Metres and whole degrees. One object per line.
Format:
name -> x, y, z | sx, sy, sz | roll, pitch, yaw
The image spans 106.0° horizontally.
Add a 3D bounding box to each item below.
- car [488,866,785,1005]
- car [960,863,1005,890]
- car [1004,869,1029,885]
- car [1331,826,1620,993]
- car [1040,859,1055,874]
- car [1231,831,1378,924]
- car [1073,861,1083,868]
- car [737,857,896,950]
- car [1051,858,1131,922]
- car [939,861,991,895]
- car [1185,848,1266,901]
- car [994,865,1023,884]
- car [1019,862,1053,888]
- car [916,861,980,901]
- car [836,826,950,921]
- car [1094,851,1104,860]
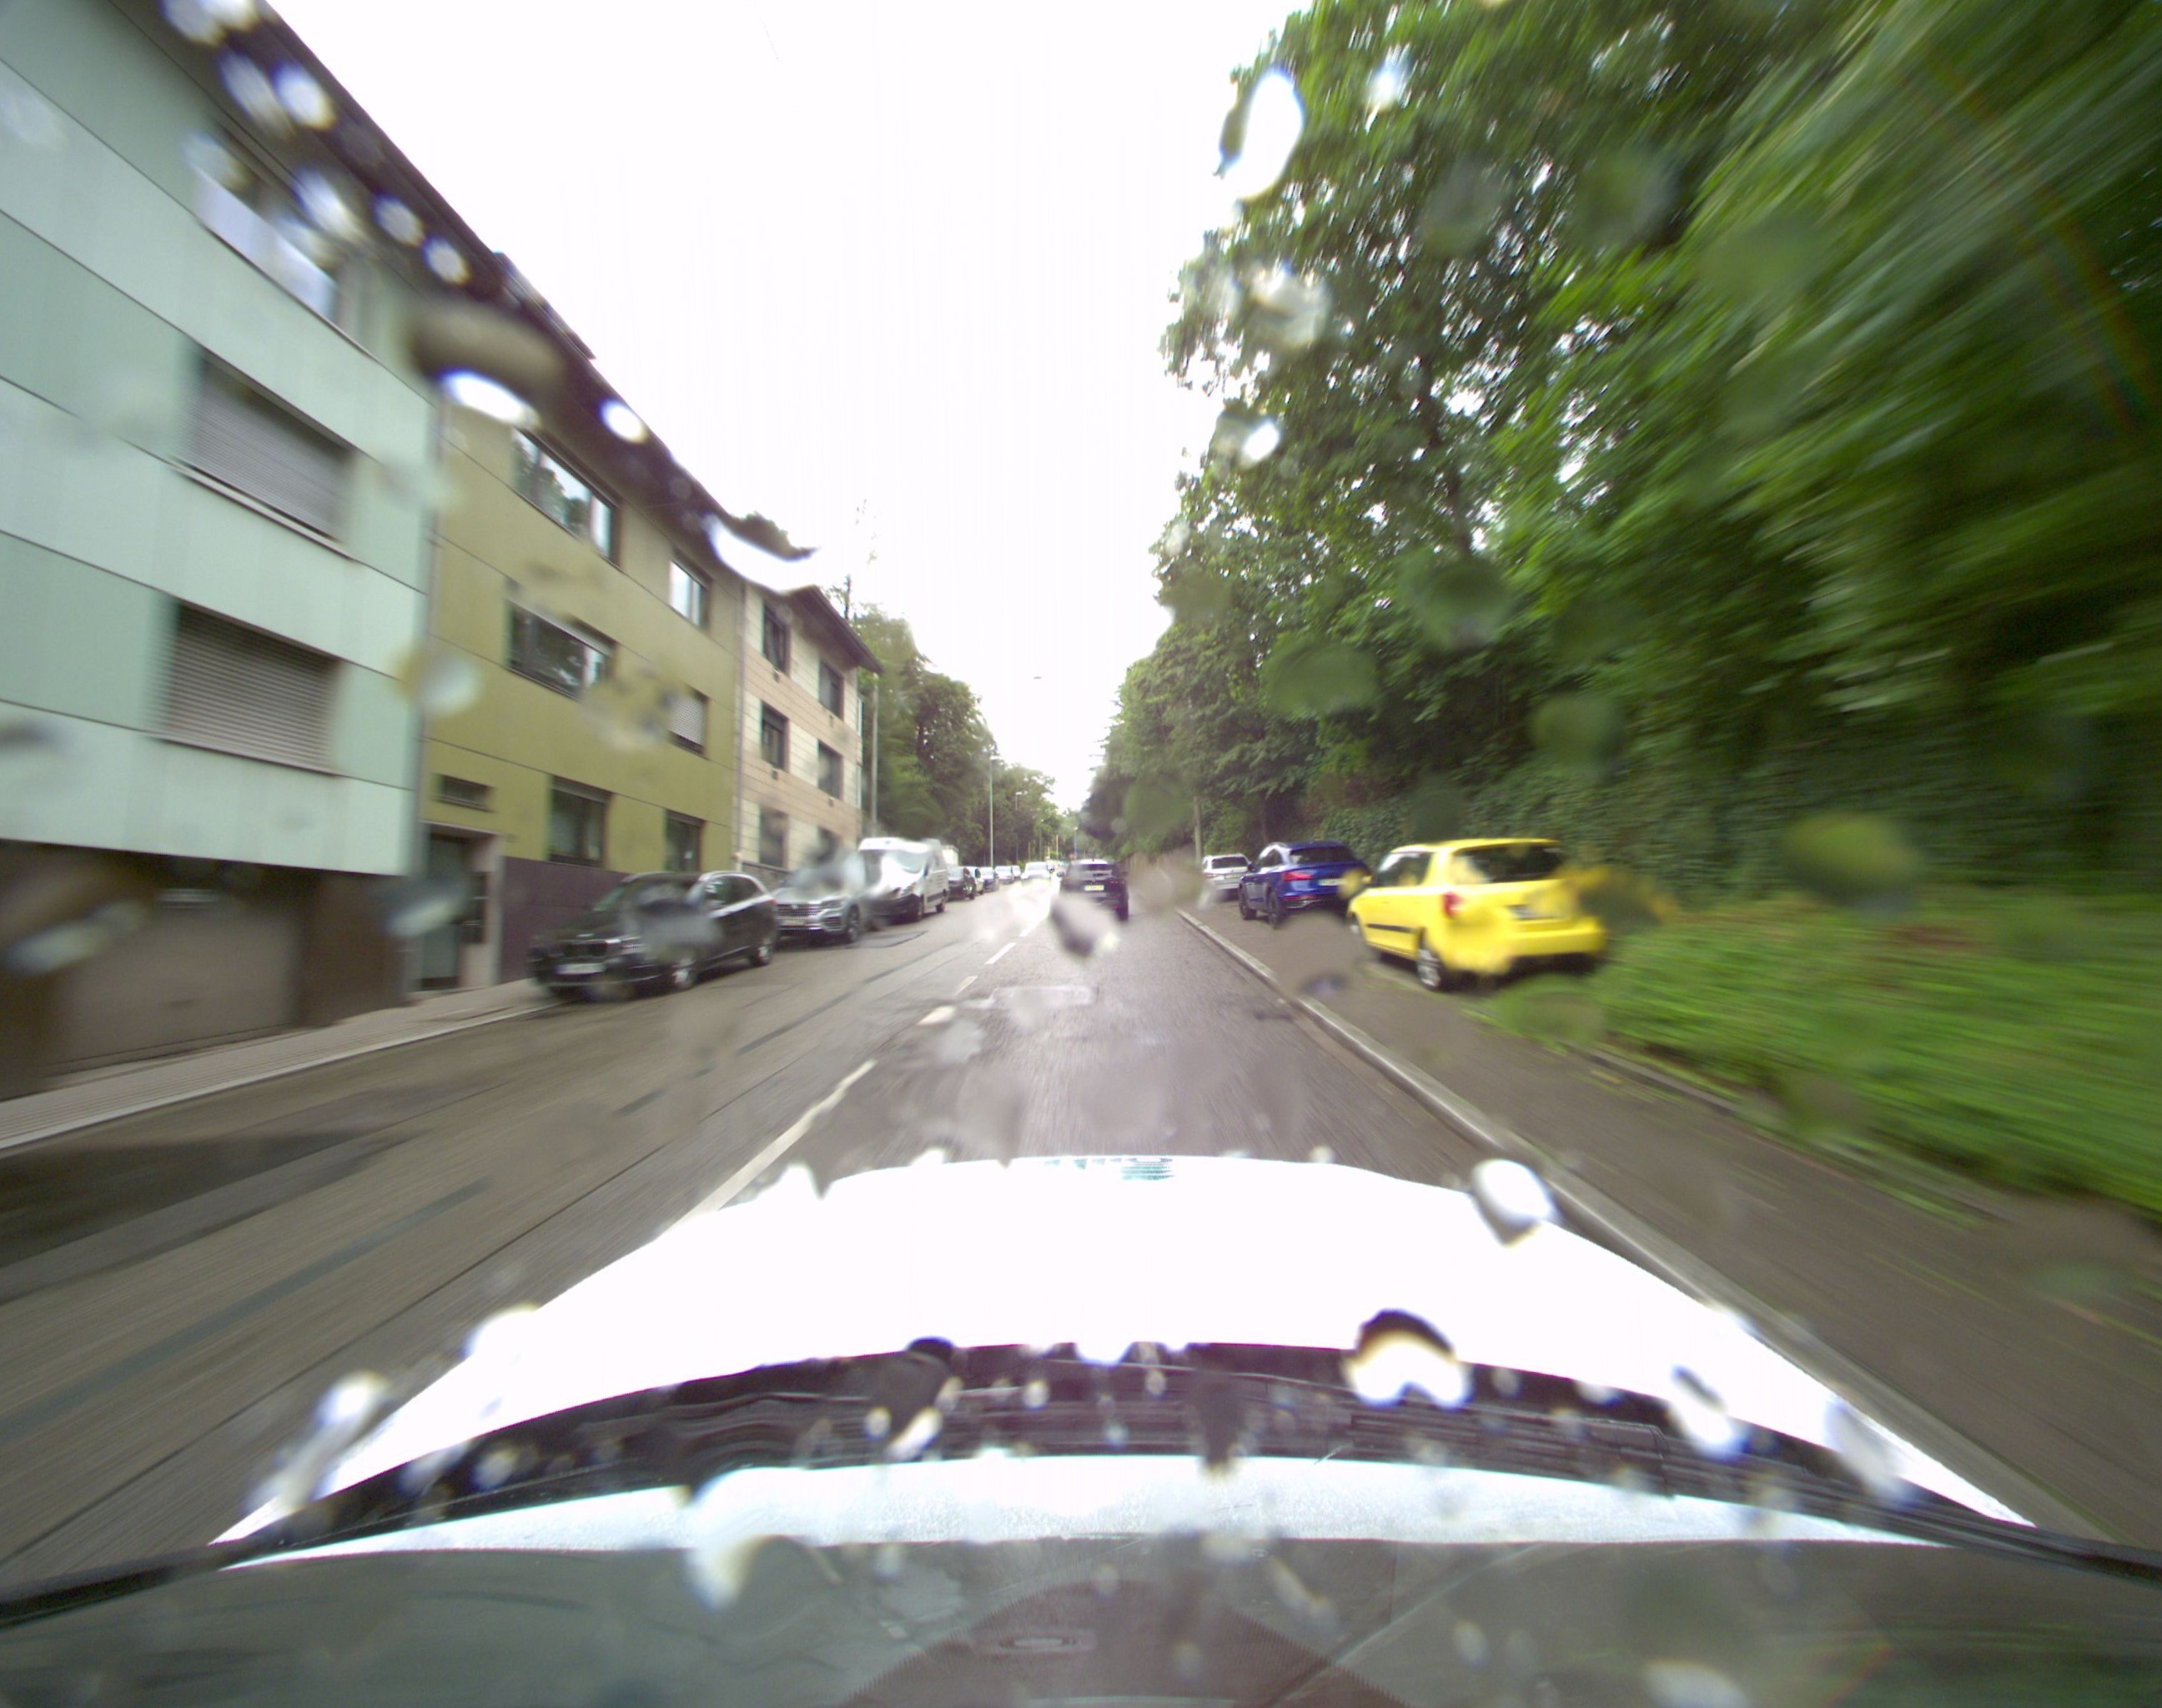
car -> -6.270, 1.043, 12.216 | 1.983, 1.585, 4.305 | -2, 0, 1
car -> -5.810, 1.301, 48.572 | 1.983, 1.384, 4.458 | -2, 0, 1
car -> -6.304, 2.239, 80.253 | 1.983, 1.384, 4.458 | -2, 0, 1
car -> 4.270, 0.529, 9.557 | 1.626, 1.530, 4.003 | -1, 0, 3
car -> -4.674, 1.780, 114.059 | 1.987, 1.948, 3.998 | -1, -3, 0
car -> 4.397, 0.440, 16.746 | 1.804, 1.530, 4.418 | -4, -1, 1
car -> -0.637, 2.369, 184.822 | 2.068, 1.559, 4.000 | -2, 0, 0
car -> -5.720, 0.976, 18.303 | 1.983, 1.755, 4.480 | -2, 0, 1
car -> 0.327, 0.908, 22.416 | 1.986, 1.559, 4.002 | -1, 0, 2
car -> -6.054, 1.231, 43.076 | 1.983, 1.566, 4.458 | -2, 0, 1
car -> 4.772, 0.665, 27.526 | 1.805, 1.530, 4.415 | -4, -1, -1
car -> -6.099, 1.726, 68.836 | 1.983, 1.384, 4.458 | -2, 0, 1
car -> -2.884, 1.320, 53.350 | 1.987, 1.559, 4.000 | -1, 0, 0
car -> -5.784, 1.129, 35.968 | 1.983, 1.566, 4.458 | -2, 0, 1
car -> -5.520, 0.544, 24.791 | 1.983, 2.475, 5.784 | -2, 0, 1
car -> 3.755, 0.362, 169.558 | 1.985, 1.560, 4.003 | -3, -2, 4
